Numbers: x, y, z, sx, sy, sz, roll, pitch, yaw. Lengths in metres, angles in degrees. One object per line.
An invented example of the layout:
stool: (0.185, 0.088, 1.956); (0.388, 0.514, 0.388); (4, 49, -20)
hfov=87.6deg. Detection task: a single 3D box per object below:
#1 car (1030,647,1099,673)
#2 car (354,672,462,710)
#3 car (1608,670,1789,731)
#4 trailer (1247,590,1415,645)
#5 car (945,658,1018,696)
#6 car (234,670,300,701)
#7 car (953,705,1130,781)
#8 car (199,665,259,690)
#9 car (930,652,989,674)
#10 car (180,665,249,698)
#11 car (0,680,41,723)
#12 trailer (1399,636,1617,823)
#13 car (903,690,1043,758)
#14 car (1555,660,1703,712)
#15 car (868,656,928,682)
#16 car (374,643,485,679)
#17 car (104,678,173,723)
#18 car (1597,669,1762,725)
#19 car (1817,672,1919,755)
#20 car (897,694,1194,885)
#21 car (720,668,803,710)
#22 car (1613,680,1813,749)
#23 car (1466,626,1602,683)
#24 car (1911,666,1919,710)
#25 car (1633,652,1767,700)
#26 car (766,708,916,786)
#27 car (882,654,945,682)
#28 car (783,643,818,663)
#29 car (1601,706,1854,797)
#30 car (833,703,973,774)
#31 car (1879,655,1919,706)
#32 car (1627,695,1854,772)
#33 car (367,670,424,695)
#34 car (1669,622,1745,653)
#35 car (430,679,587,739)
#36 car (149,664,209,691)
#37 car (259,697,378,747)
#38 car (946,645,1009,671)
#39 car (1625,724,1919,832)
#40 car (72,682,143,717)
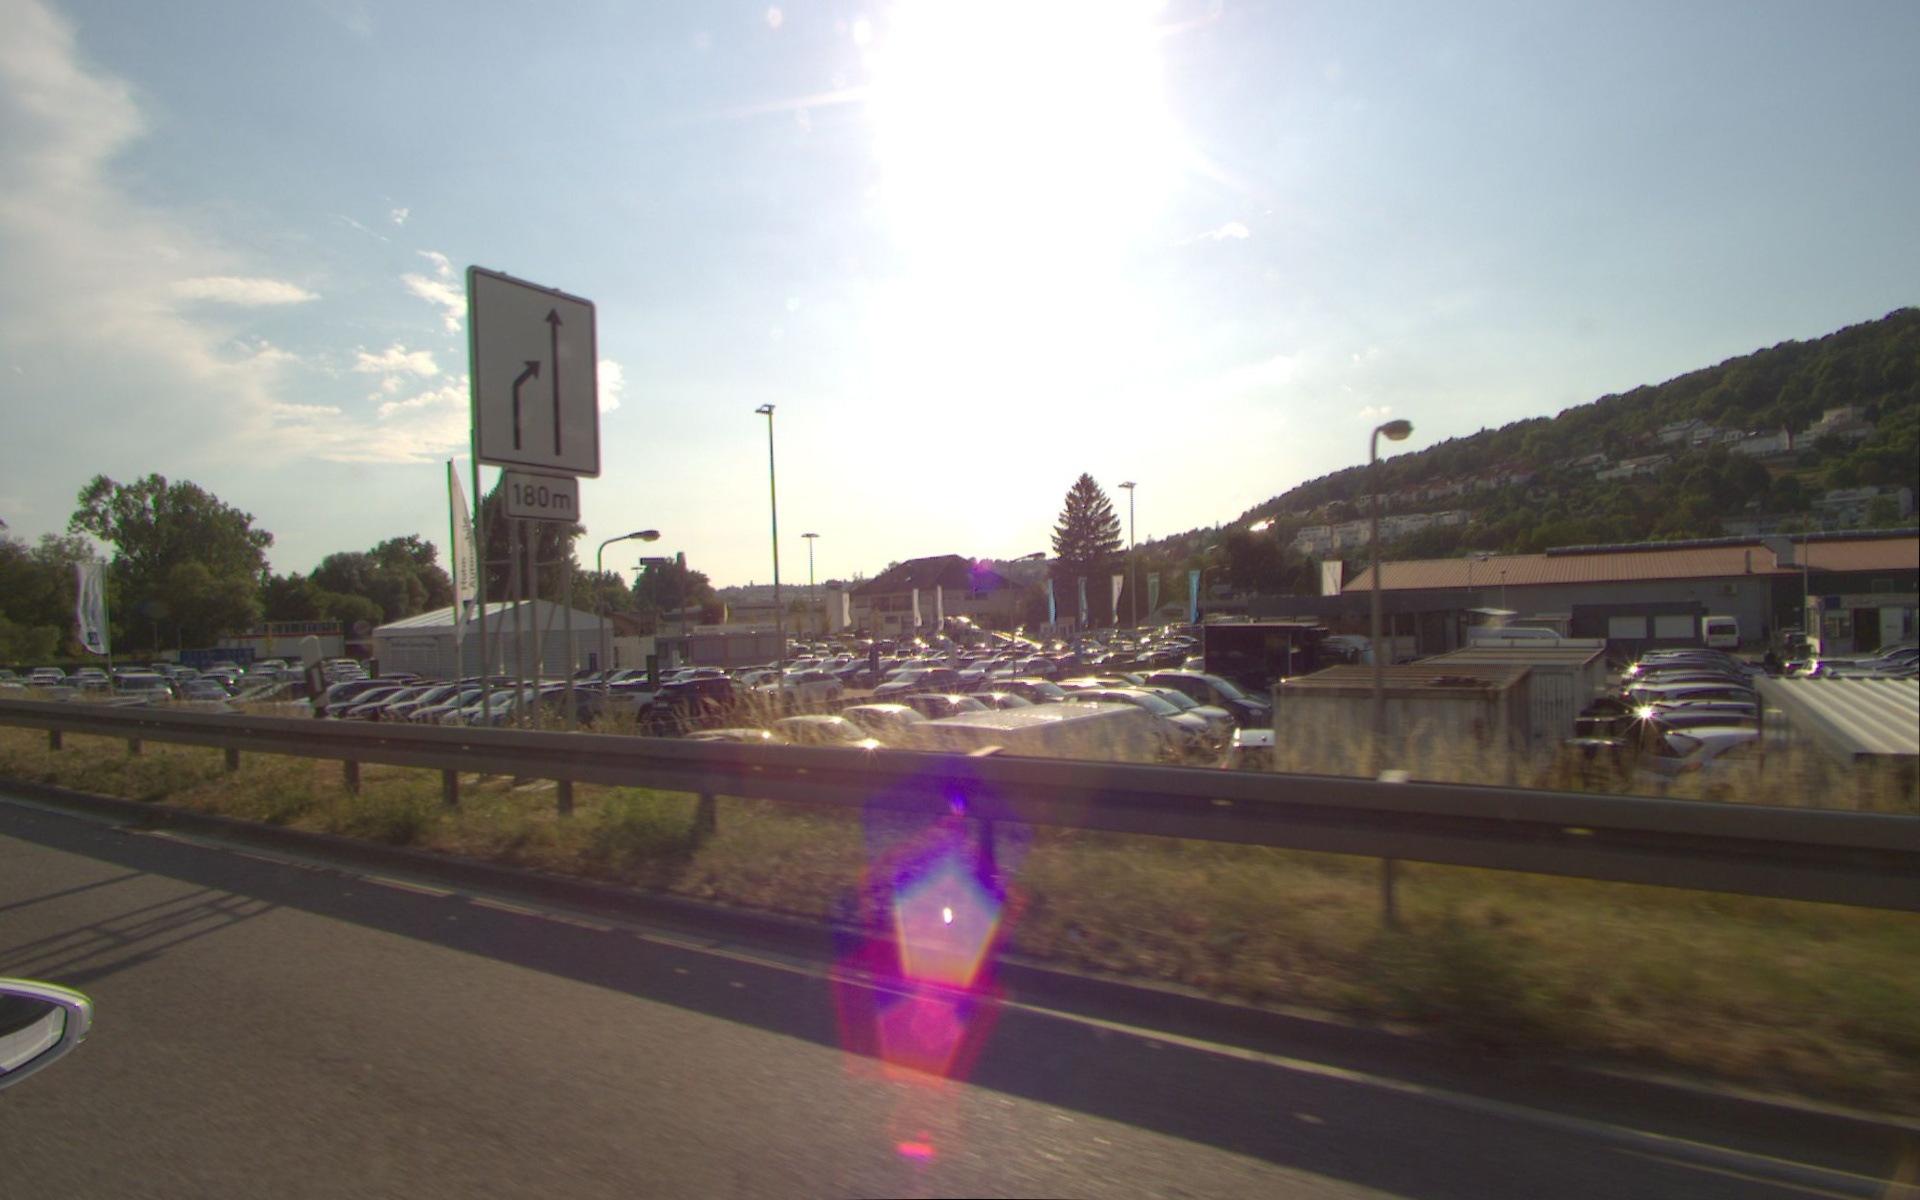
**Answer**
car: (7.027, 4.035, 67.559); (4.355, 1.656, 1.886); (0, -2, -8)
car: (-27.620, 4.512, 50.216); (1.863, 1.656, 4.409); (-2, -3, 38)
car: (20.573, 2.799, 28.021); (3.702, 1.589, 1.682); (-1, -2, 6)
trailer: (15.241, 0.801, 41.412); (6.204, 2.047, 1.987); (-3, -3, 37)
car: (1.179, 4.081, 53.874); (1.903, 1.883, 3.972); (-2, -3, 38)
car: (-40.756, 5.003, 58.857); (4.670, 1.656, 1.874); (-3, -3, 37)
car: (2.000, 3.497, 25.005); (4.121, 1.526, 1.593); (-2, 0, 33)
car: (-50.714, 5.334, 69.457); (4.666, 1.656, 1.875); (-2, -3, 34)
car: (-0.023, 4.888, 77.876); (4.355, 1.656, 1.886); (0, -2, -8)
car: (-37.577, 4.059, 50.427); (4.678, 1.541, 1.871); (-3, -3, 42)
car: (-39.588, 4.088, 40.619); (4.655, 1.646, 1.880); (-2, -2, 27)
trailer: (12.419, 2.503, 22.265); (3.315, 3.364, 7.859); (-2, -3, 35)
car: (0.332, 3.505, 28.856); (3.867, 1.715, 1.591); (-3, -3, 38)
car: (22.154, 2.841, 33.273); (3.702, 1.589, 1.682); (-1, -2, 6)
car: (-4.124, 4.598, 66.964); (1.738, 1.661, 3.932); (-3, -3, 42)
car: (-25.586, 2.913, 48.451); (1.863, 1.656, 4.409); (-2, -3, 38)
car: (-40.146, 4.853, 48.892); (4.677, 1.955, 1.871); (-3, -3, 42)
car: (21.900, 2.938, 30.608); (3.702, 1.589, 1.682); (-1, -2, 6)
car: (25.470, 3.090, 28.013); (1.806, 2.039, 3.628); (-2, -3, 34)
car: (1.593, 2.628, 15.409); (1.973, 2.039, 5.869); (-2, -3, 33)
car: (-10.640, 4.731, 53.792); (3.961, 2.039, 1.982); (1, -3, -43)
car: (19.015, 2.878, 25.429); (3.702, 1.589, 1.682); (-1, -2, 4)
car: (26.552, 2.526, 46.403); (5.260, 2.468, 1.987); (-3, -3, 37)
car: (30.729, 2.649, 29.971); (3.084, 1.315, 1.368); (-3, -3, 36)
car: (27.841, 2.849, 37.794); (3.602, 1.705, 1.770); (-1, -2, 8)
car: (-3.022, 3.628, 25.121); (3.621, 1.631, 1.592); (-3, -3, 36)
car: (-2.946, 4.359, 64.223); (1.738, 1.661, 3.932); (-3, -3, 42)
car: (-12.377, 4.111, 77.990); (1.770, 1.474, 4.002); (-1, -2, 5)
car: (15.641, 3.076, 20.602); (3.703, 1.667, 1.728); (-1, -2, 9)
car: (-1.591, 3.696, 27.246); (3.621, 1.631, 1.592); (-3, -3, 36)
car: (32.601, 2.645, 32.748); (1.784, 1.636, 3.417); (1, -3, -35)
car: (17.759, 3.036, 22.939); (3.703, 1.589, 1.682); (-1, -2, 9)
car: (-39.765, 5.774, 70.490); (4.515, 1.656, 1.874); (-3, -3, 37)
car: (51.061, 2.602, 68.527); (3.942, 2.039, 1.991); (-2, -3, 31)
car: (-14.887, 3.550, 33.208); (1.863, 1.656, 4.409); (-2, -3, 38)
car: (-51.581, 5.106, 66.106); (4.668, 1.656, 1.875); (-3, -3, 35)
car: (-24.026, 4.538, 37.578); (1.609, 1.593, 3.462); (-2, -3, 39)
car: (1.106, 3.554, 61.527); (1.809, 1.521, 3.972); (-2, -3, 38)
car: (14.379, 3.130, 17.922); (3.703, 1.667, 1.728); (-1, -2, 9)
car: (-44.984, 5.213, 52.821); (4.670, 1.656, 1.874); (-3, -3, 37)
